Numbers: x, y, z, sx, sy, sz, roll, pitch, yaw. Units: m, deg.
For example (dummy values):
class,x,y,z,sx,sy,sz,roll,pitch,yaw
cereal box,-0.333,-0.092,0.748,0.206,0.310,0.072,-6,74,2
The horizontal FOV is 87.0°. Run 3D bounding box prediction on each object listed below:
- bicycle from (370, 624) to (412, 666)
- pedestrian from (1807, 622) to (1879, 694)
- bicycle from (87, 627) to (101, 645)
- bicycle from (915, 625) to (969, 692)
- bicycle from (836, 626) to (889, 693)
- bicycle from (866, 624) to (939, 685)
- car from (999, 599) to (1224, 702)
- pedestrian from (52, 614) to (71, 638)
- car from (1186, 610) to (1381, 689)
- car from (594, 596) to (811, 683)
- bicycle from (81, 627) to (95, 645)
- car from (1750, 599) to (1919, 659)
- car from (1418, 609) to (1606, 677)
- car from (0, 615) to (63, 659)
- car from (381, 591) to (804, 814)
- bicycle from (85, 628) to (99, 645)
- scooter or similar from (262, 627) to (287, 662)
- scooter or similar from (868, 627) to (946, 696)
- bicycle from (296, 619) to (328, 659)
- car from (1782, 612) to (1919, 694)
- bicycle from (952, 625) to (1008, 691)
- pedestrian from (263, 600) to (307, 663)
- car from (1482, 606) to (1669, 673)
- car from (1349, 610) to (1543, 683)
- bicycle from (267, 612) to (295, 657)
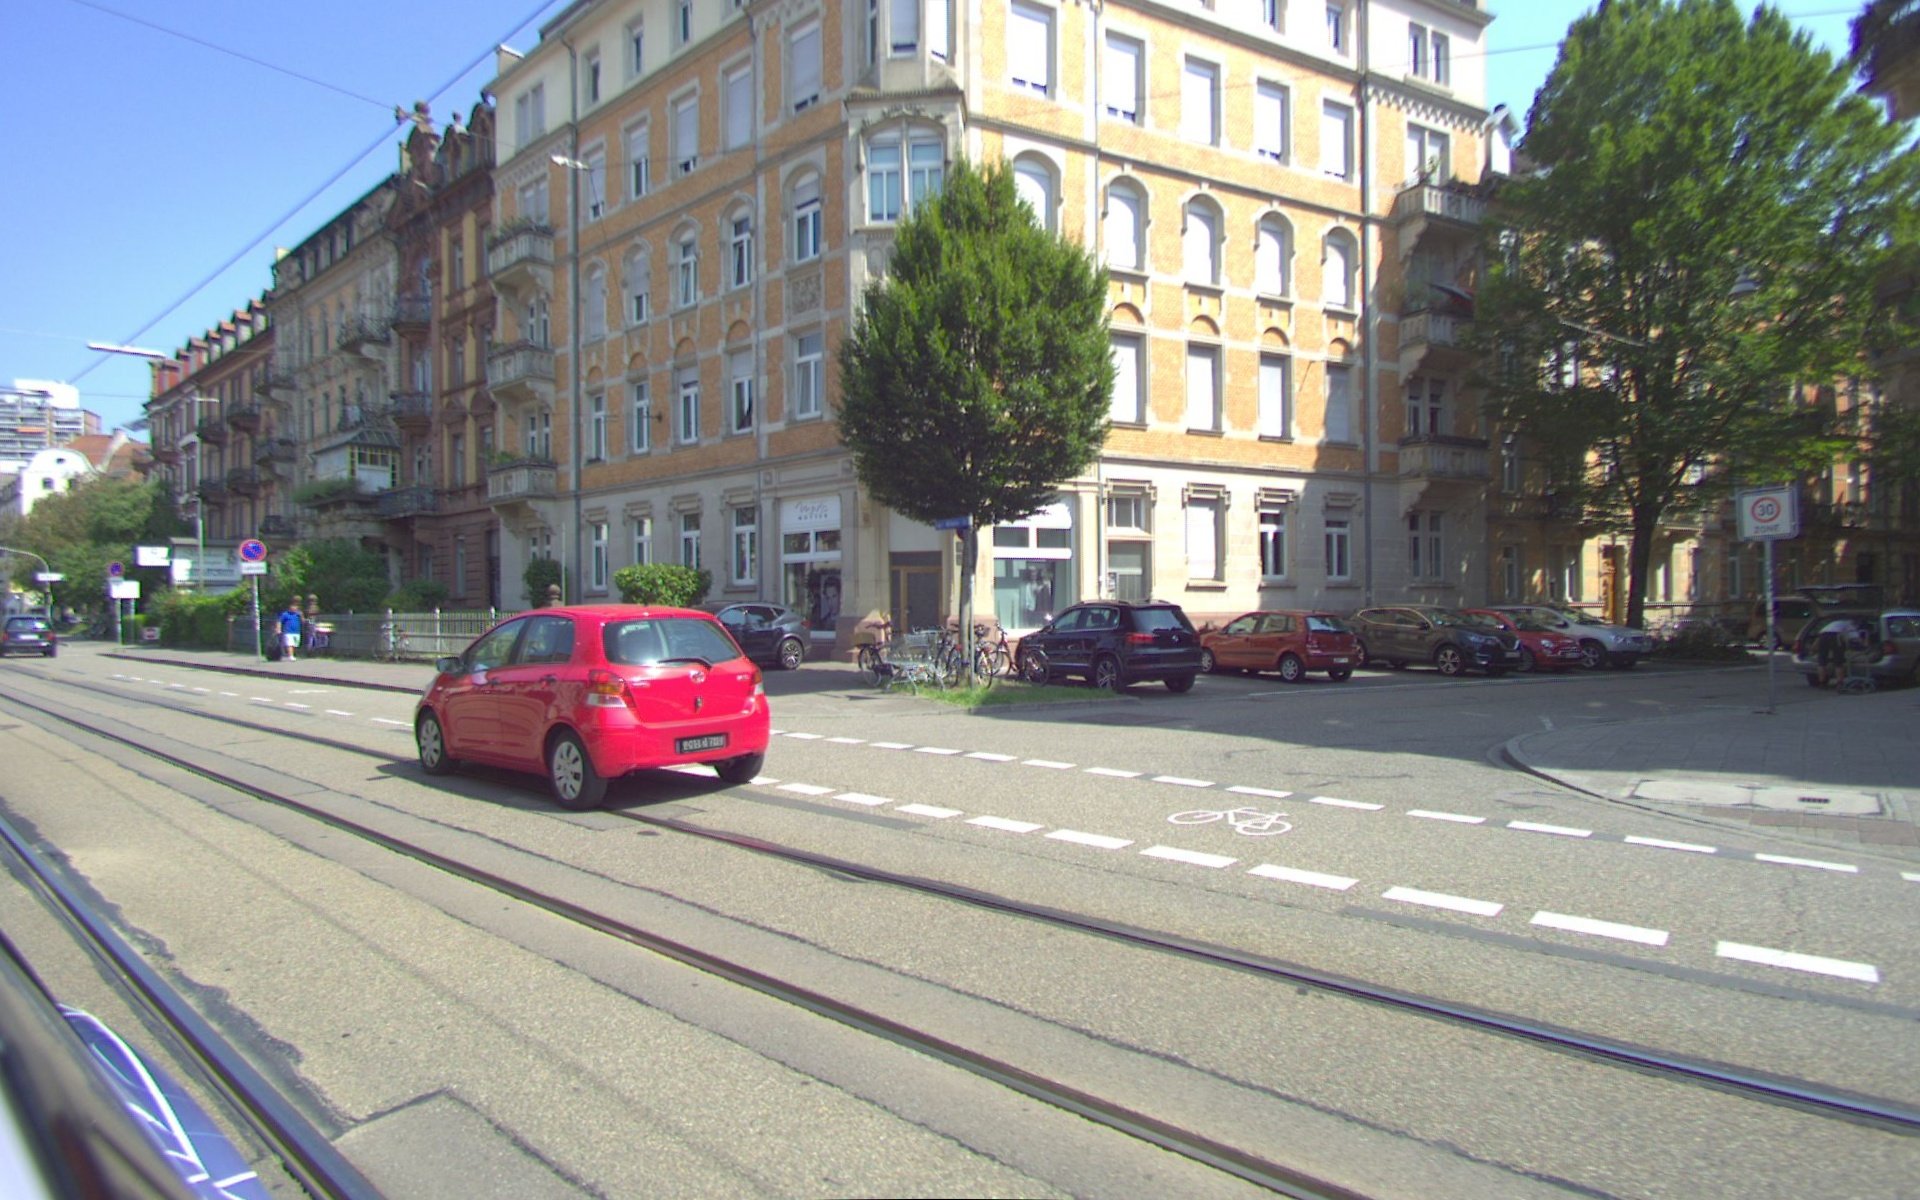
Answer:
class,x,y,z,sx,sy,sz,roll,pitch,yaw
bicycle,-14.877,1.167,26.446,1.832,1.046,0.386,-2,-1,42
pedestrian,15.852,1.022,18.177,0.573,1.236,0.804,0,0,-24
bicycle,-50.121,2.082,58.556,1.657,0.994,0.482,-2,-1,44
bicycle,-0.334,1.007,17.748,0.384,1.107,1.456,-1,-1,-24
bicycle,-1.742,1.050,18.229,0.387,1.107,1.443,-2,-1,18
bicycle,-1.102,1.032,19.599,1.428,1.107,0.391,-1,-1,-38
car,2.705,0.869,19.117,1.965,1.701,4.373,0,-1,-28
pedestrian,-79.455,2.287,89.500,1.036,2.029,1.080,-1,0,40
car,6.877,0.987,21.858,1.818,1.487,3.770,0,0,-30
car,-5.315,0.756,21.283,1.878,1.606,4.058,-1,0,42
bicycle,-53.345,2.199,61.908,1.778,1.029,0.482,-2,-1,44
car,28.535,0.883,32.839,1.762,1.806,4.201,0,0,-30
car,13.618,1.004,25.178,1.761,1.487,3.771,0,0,-28
car,-34.858,1.343,37.564,3.997,1.552,1.808,-2,-2,40
car,-3.323,0.742,8.790,3.997,1.502,1.714,-2,-2,40
bicycle,-51.333,2.163,59.825,1.657,0.949,0.482,-2,-1,44
scooter or similar,-19.897,1.284,29.389,0.583,0.990,0.397,-1,0,33
scooter or similar,-0.915,1.014,17.137,0.588,1.107,1.392,-1,-1,-39
bicycle,-19.388,1.158,30.280,1.581,1.156,0.386,-2,-1,42
car,17.536,0.939,19.005,3.650,1.374,1.781,0,0,-24
bicycle,0.340,1.001,17.961,0.384,1.107,1.456,-1,-1,-24
pedestrian,-19.578,0.904,29.356,0.869,1.769,0.874,-1,-1,41
car,15.821,0.959,26.203,1.761,1.555,3.771,0,0,-28
car,11.171,1.005,23.522,1.761,1.487,3.771,0,0,-28
bicycle,-21.932,1.098,32.680,1.581,1.416,0.386,-2,-1,42
